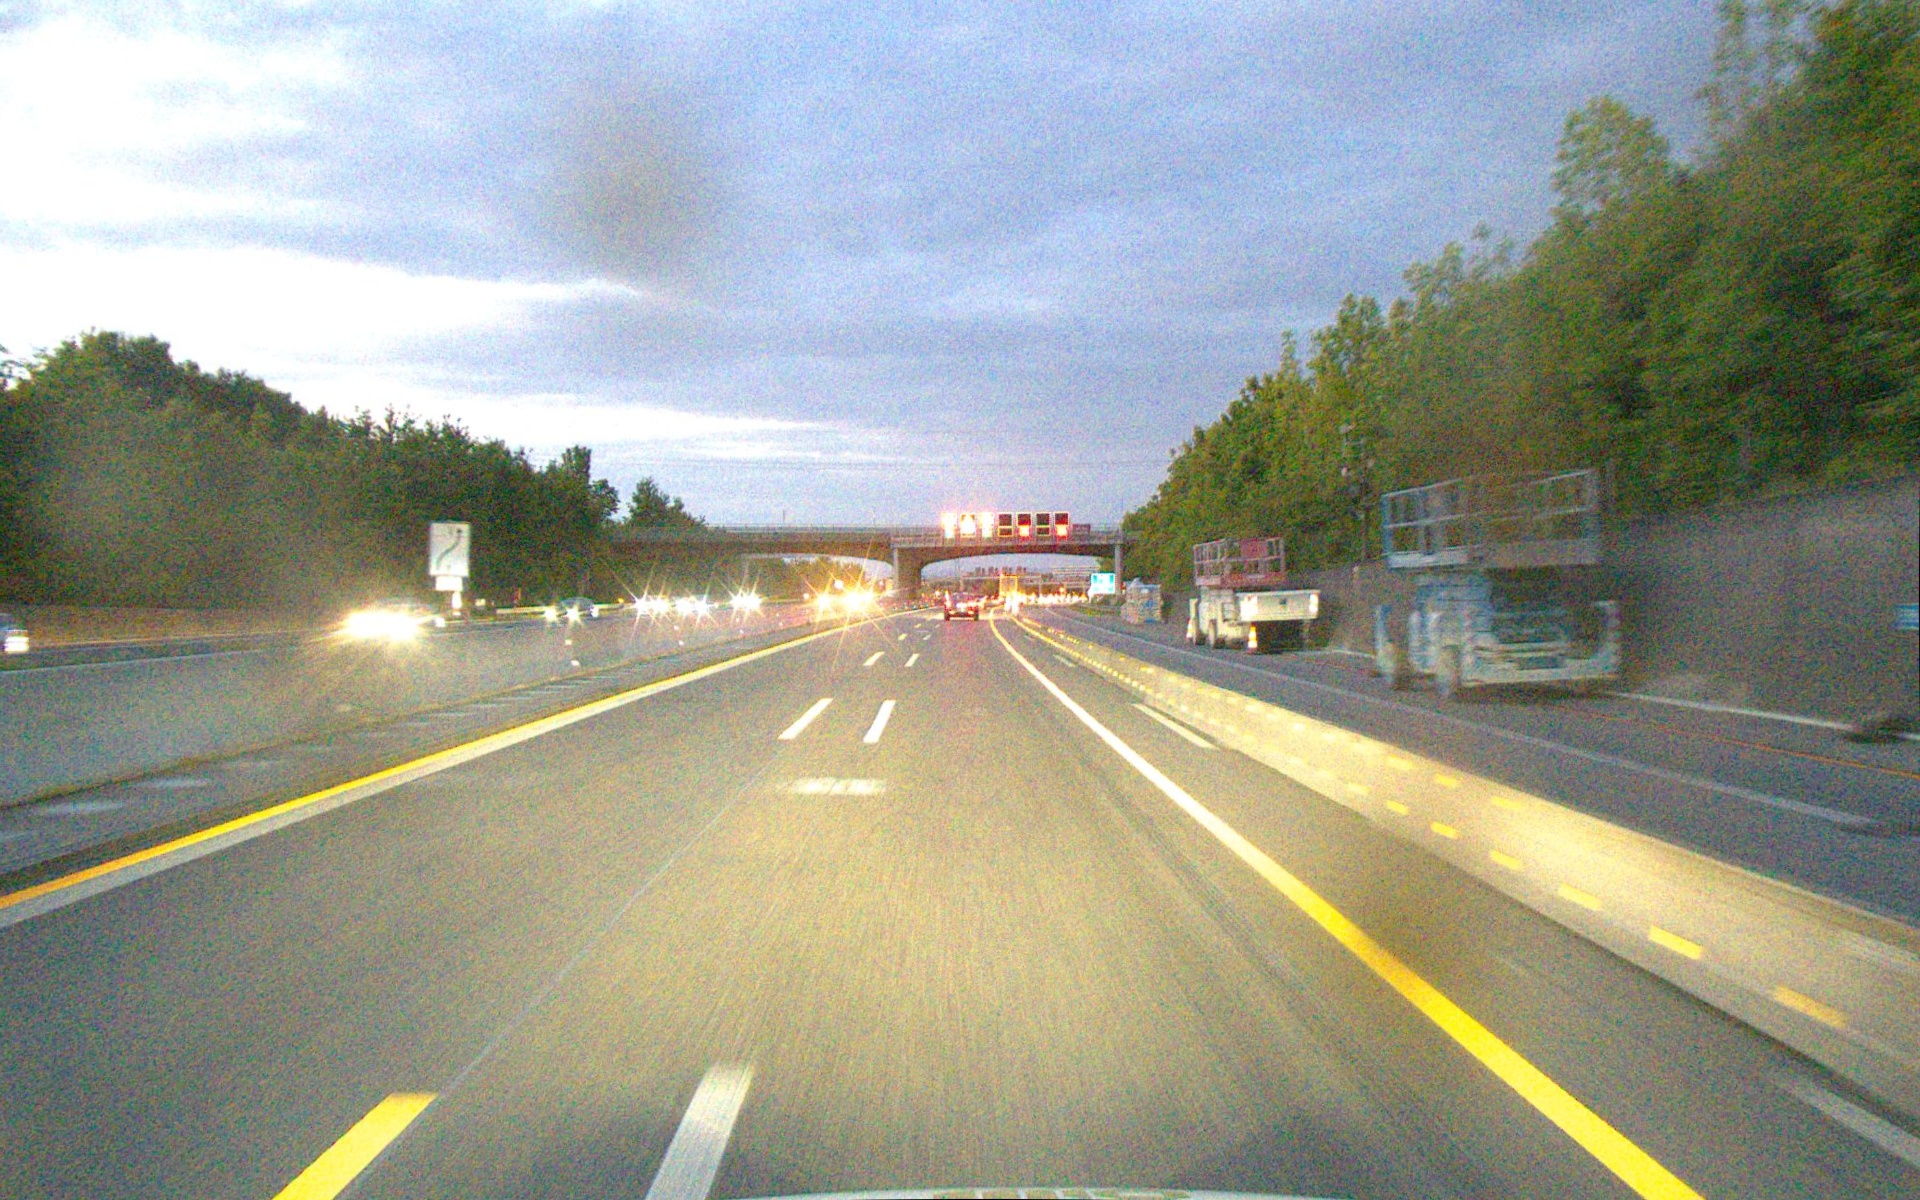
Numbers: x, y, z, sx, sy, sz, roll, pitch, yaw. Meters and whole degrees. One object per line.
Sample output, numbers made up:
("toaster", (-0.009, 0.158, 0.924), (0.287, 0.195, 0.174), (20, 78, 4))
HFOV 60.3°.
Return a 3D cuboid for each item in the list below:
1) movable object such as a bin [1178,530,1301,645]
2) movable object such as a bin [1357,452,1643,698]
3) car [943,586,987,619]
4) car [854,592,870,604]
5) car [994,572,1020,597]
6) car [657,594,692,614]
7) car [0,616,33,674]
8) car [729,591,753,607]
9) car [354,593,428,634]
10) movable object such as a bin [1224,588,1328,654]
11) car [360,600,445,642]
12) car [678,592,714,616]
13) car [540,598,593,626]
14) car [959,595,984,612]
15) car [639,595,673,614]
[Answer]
("movable object such as a bin", (8.118, -0.337, 48.665), (2.567, 3.162, 5.805), (0, 0, -1))
("movable object such as a bin", (8.168, -0.343, 25.748), (2.512, 3.376, 5.578), (-1, 0, -1))
("car", (0.248, 0.113, 88.211), (2.219, 1.649, 3.999), (2, 0, -1))
("car", (-14.000, -0.311, 236.273), (1.558, 1.632, 5.036), (2, 0, 3))
("car", (6.769, -2.163, 239.606), (3.531, 3.455, 8.015), (2, 0, 1))
("car", (-22.702, 0.355, 131.638), (1.773, 1.511, 4.702), (2, 0, 2))
("car", (-26.230, 1.188, 42.850), (1.638, 1.495, 4.648), (2, 0, 2))
("car", (-23.130, -0.124, 174.845), (1.767, 1.666, 4.752), (2, 0, 2))
("car", (-25.583, 0.597, 74.488), (1.715, 1.752, 4.669), (2, 0, 0))
("movable object such as a bin", (8.285, 0.544, 43.704), (1.953, 1.629, 4.084), (-1, 0, 0))
("car", (-22.642, 0.820, 67.360), (1.770, 1.616, 4.876), (2, 0, 0))
("car", (-20.233, 0.282, 127.028), (1.861, 1.768, 4.809), (2, 0, 2))
("car", (-22.000, 0.676, 92.725), (1.714, 1.480, 4.671), (2, 0, 1))
("car", (1.038, 0.320, 149.170), (1.930, 1.462, 4.002), (2, 0, 5))
("car", (-25.208, 0.340, 137.159), (1.788, 1.511, 4.702), (2, 0, 2))
